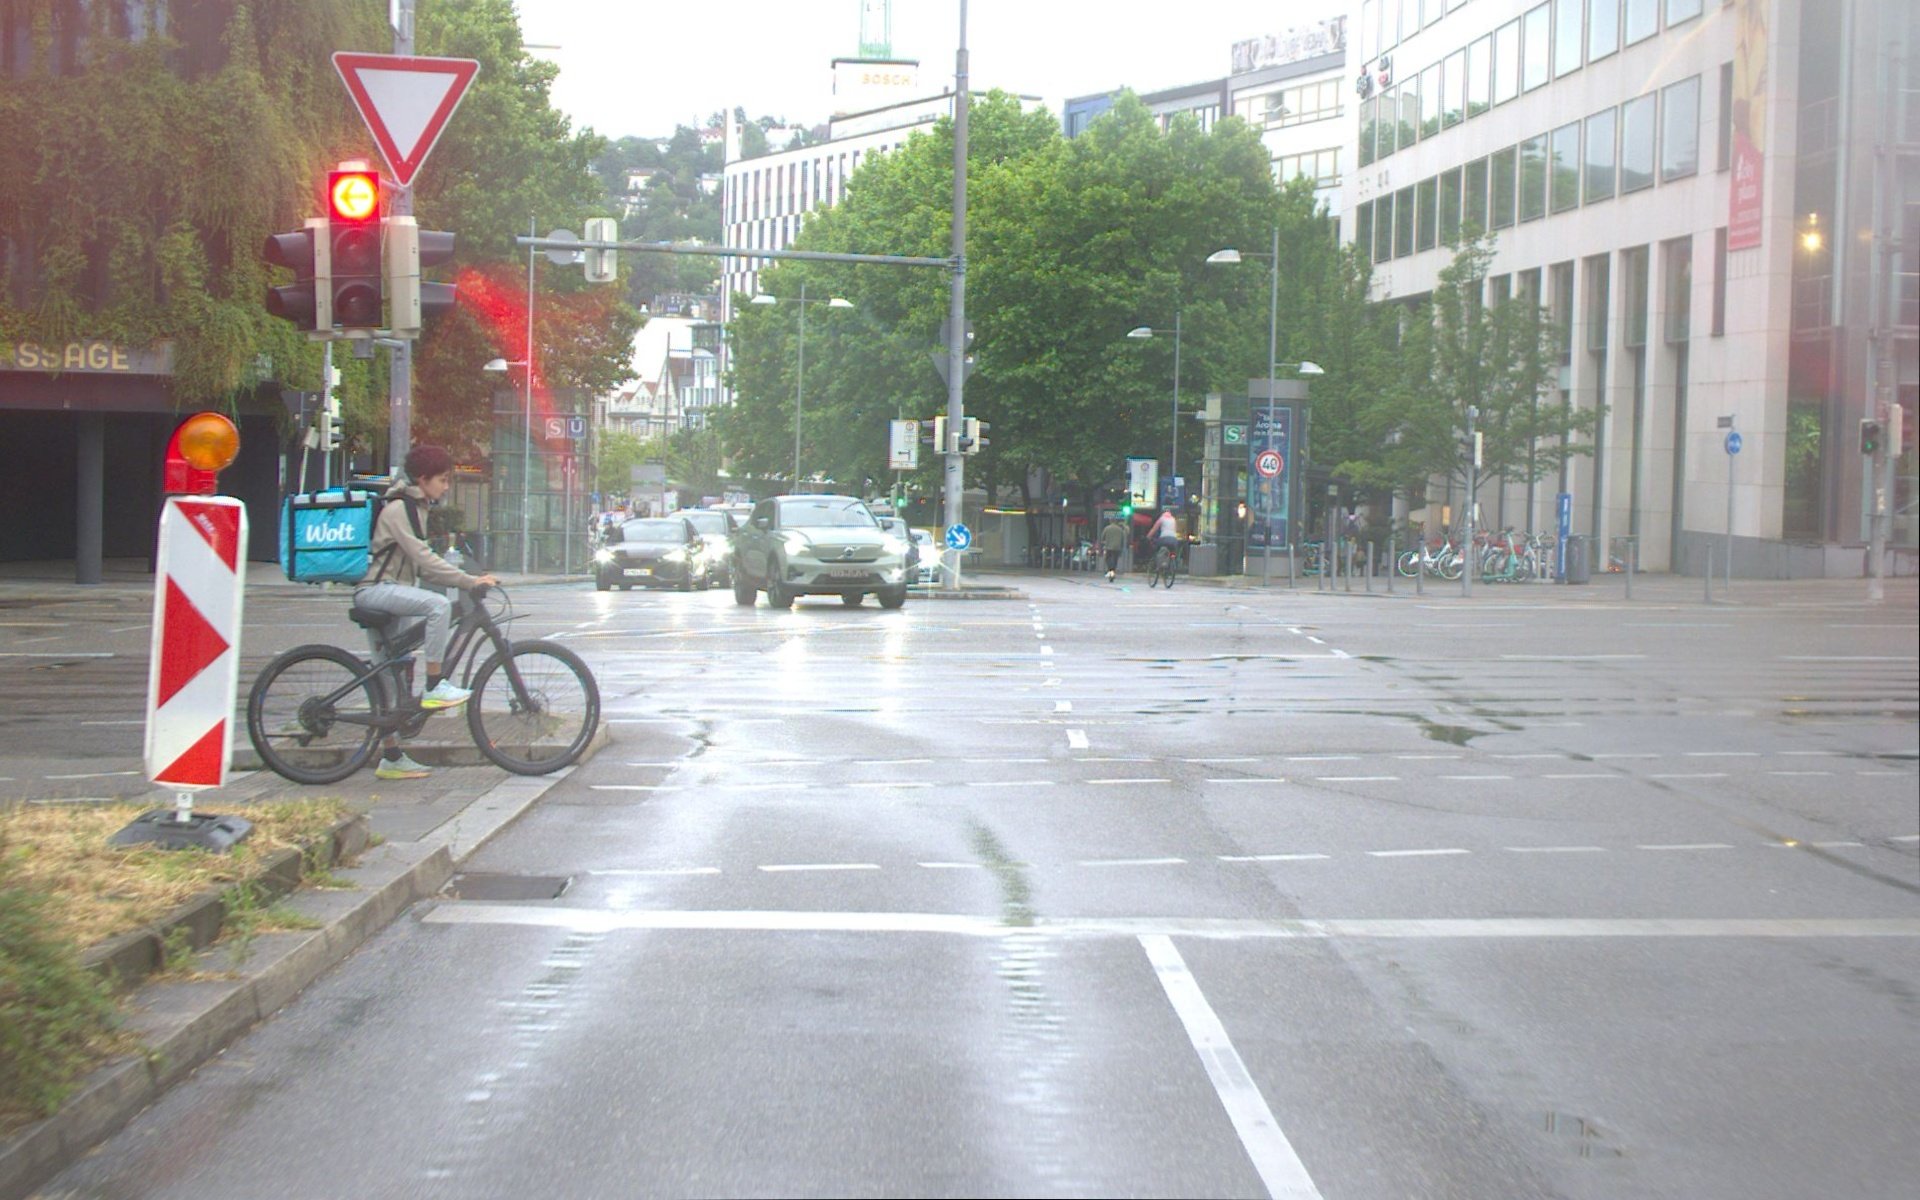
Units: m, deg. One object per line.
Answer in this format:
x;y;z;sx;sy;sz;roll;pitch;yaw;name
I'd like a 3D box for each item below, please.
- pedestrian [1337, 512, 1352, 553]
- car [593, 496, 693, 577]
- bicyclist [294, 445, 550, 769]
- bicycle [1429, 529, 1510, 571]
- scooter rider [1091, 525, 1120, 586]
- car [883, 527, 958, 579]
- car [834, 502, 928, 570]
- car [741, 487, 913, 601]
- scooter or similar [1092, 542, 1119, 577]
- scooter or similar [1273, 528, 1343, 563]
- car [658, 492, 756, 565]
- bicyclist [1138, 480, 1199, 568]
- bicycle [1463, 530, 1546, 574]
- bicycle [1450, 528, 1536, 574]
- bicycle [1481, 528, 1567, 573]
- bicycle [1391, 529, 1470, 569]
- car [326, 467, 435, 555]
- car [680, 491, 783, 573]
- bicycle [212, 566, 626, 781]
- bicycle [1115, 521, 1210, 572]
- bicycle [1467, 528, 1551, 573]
10.991;-1.936;98.179;0.353;1.169;0.415;0;1;-4;pedestrian
-6.076;-1.240;66.161;1.856;1.443;4.622;0;2;-5;car
-2.911;0.028;18.534;1.294;1.698;0.848;0;1;-13;bicyclist
11.750;-1.154;79.307;1.794;0.931;0.475;1;1;3;bicycle
4.276;-1.307;101.129;0.762;1.768;0.796;0;1;-5;scooter rider
-1.192;-1.385;100.957;1.993;1.438;4.556;1;2;-3;car
-1.854;-1.501;79.603;1.993;1.438;4.557;0;3;-4;car
-1.968;-0.837;49.439;1.993;1.545;4.557;0;2;-8;car
4.273;-1.189;101.122;0.556;1.003;1.824;0;1;-5;scooter or similar
8.923;-1.394;88.200;1.745;0.875;0.489;0;1;-19;scooter or similar
-5.391;-1.538;72.787;1.856;1.443;4.622;0;2;-7;car
4.743;-1.734;78.189;0.791;1.968;1.114;0;2;-41;bicyclist
11.872;-1.052;74.979;1.799;0.931;0.474;2;2;41;bicycle
11.249;-1.043;72.626;1.799;0.931;0.474;2;2;41;bicycle
12.015;-1.053;73.267;1.799;0.931;0.474;2;2;41;bicycle
11.101;-1.201;81.156;1.794;0.931;0.475;1;1;3;bicycle
-12.899;-1.989;76.739;1.993;1.888;4.466;1;2;-5;car
-5.315;-1.586;79.490;2.174;1.817;4.645;1;2;-6;car
-2.928;0.384;18.525;2.145;1.099;0.848;0;2;-13;bicycle
4.602;-1.230;78.346;0.791;1.113;2.255;0;2;-41;bicycle
11.842;-1.074;74.233;1.799;0.931;0.474;2;2;41;bicycle
